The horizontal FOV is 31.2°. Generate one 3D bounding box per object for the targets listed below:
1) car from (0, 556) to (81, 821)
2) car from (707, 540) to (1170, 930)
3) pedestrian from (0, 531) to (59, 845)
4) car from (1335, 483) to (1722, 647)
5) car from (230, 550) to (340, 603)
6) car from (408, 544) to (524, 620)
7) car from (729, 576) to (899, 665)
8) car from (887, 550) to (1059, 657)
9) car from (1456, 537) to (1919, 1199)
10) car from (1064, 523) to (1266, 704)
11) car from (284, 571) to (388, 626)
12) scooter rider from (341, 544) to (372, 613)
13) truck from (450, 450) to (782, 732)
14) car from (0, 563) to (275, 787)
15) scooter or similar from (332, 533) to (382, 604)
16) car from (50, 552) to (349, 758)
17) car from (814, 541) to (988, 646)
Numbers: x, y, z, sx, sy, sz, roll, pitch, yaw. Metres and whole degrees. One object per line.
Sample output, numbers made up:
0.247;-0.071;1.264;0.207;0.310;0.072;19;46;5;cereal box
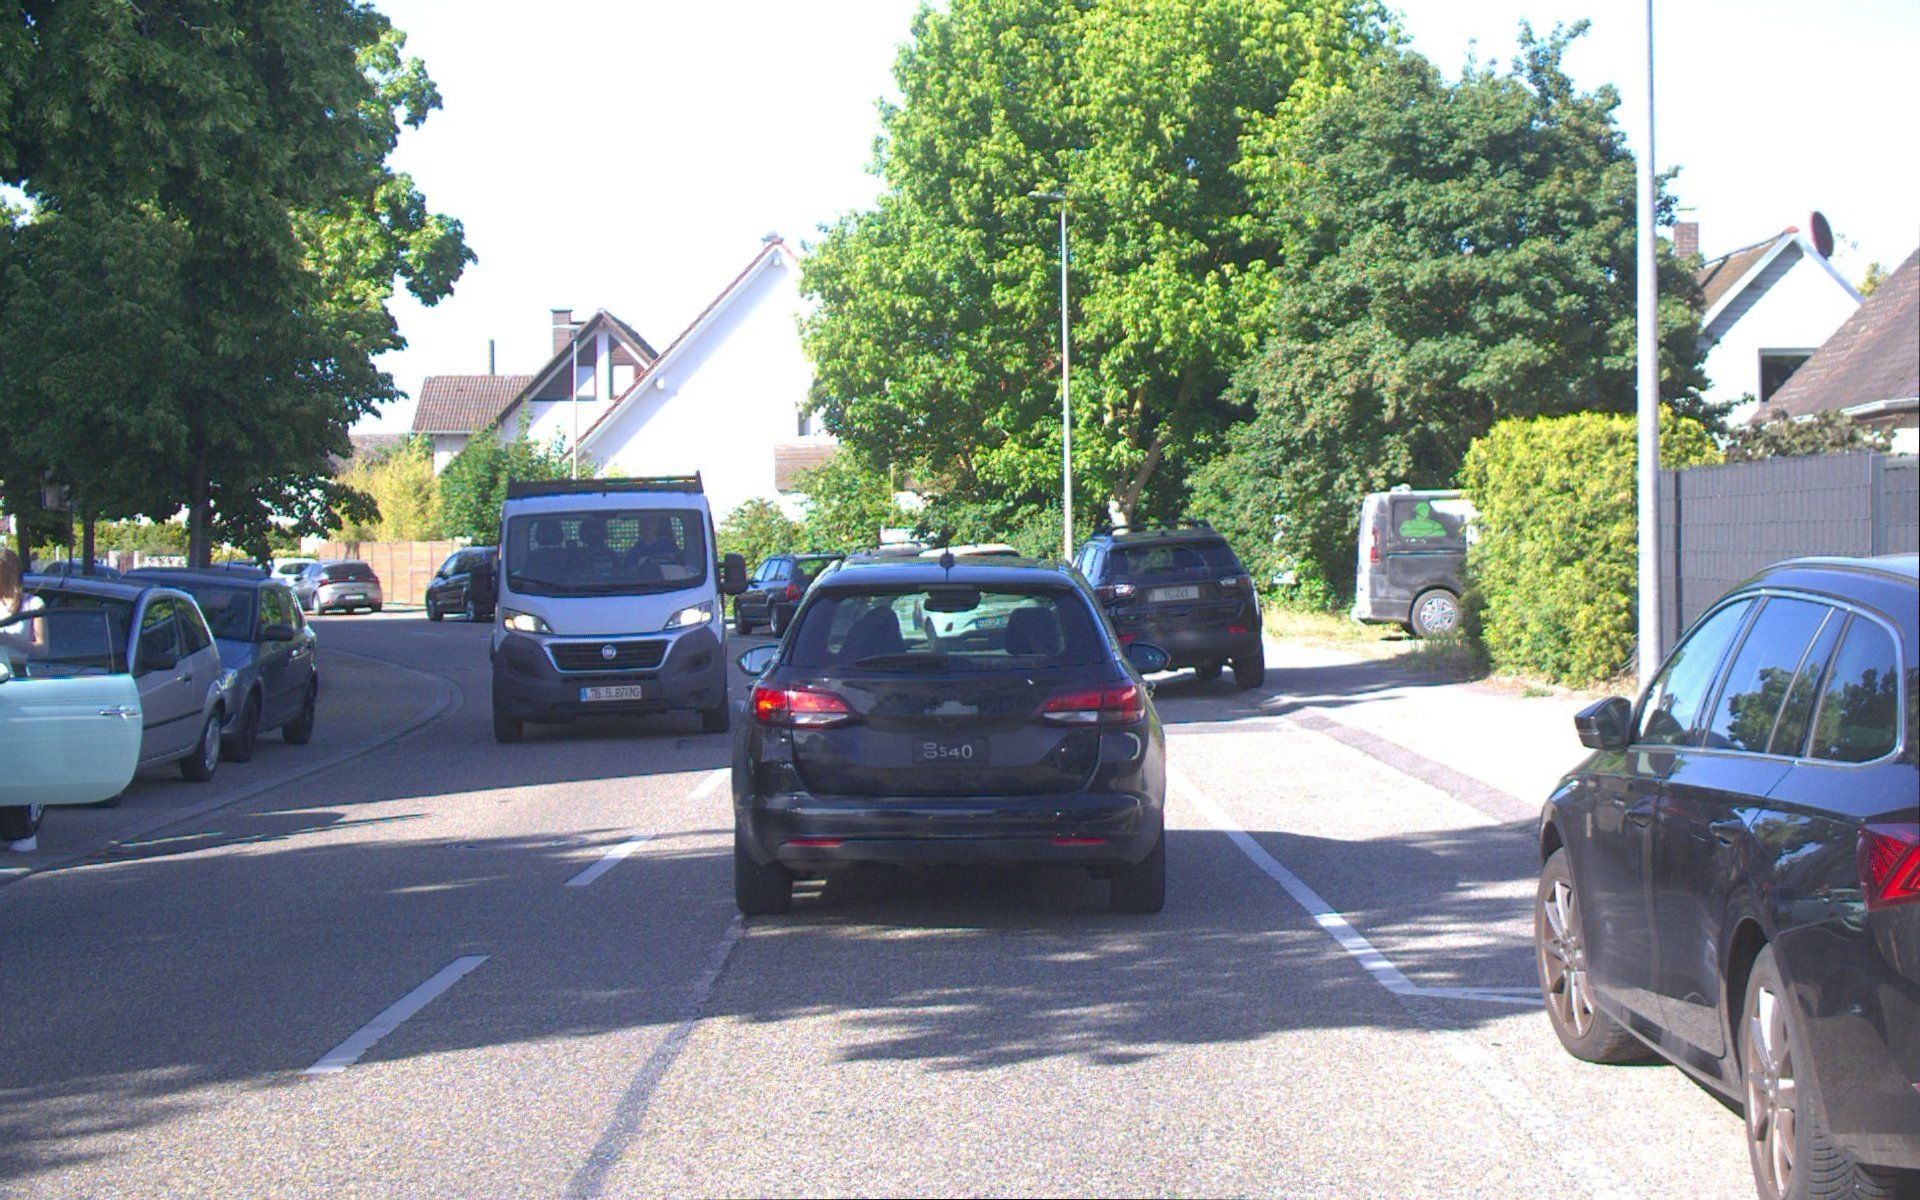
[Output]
-6.356;0.534;19.713;1.700;1.518;4.052;-2;-1;-3;car
-0.104;0.507;15.251;1.761;1.486;4.291;0;0;-1;car
-5.488;0.504;19.628;0.504;1.755;0.695;-2;-1;-4;pedestrian
7.412;-0.455;45.198;4.680;1.977;2.143;-2;0;0;car
-19.365;-0.668;98.479;1.916;1.402;4.294;-2;0;-28;car
-11.537;-0.406;80.133;1.902;1.660;4.192;-2;0;-19;car
-2.633;0.354;60.883;2.005;1.470;4.295;-2;0;-16;car
0.146;0.046;51.431;1.760;1.475;4.295;-2;0;-11;car
2.478;0.612;8.417;1.765;1.475;4.992;-2;1;0;car
2.062;0.118;35.615;1.778;1.718;4.294;-2;0;0;car
-16.820;-0.025;92.524;1.916;1.402;4.295;-2;0;-21;car
-17.951;-0.634;102.270;0.685;2.007;0.820;-1;-1;-26;scooter rider
-3.094;-0.112;32.452;2.130;2.326;6.442;-2;1;3;truck
-6.286;0.494;25.200;1.657;1.505;4.000;0;0;1;car
-17.949;-0.925;102.273;0.685;2.007;2.962;-1;-1;-25;scooter or similar
-6.386;0.409;29.232;1.567;1.525;3.918;3;1;1;car
-1.011;-0.109;55.941;1.911;1.595;4.295;-2;0;-13;car
